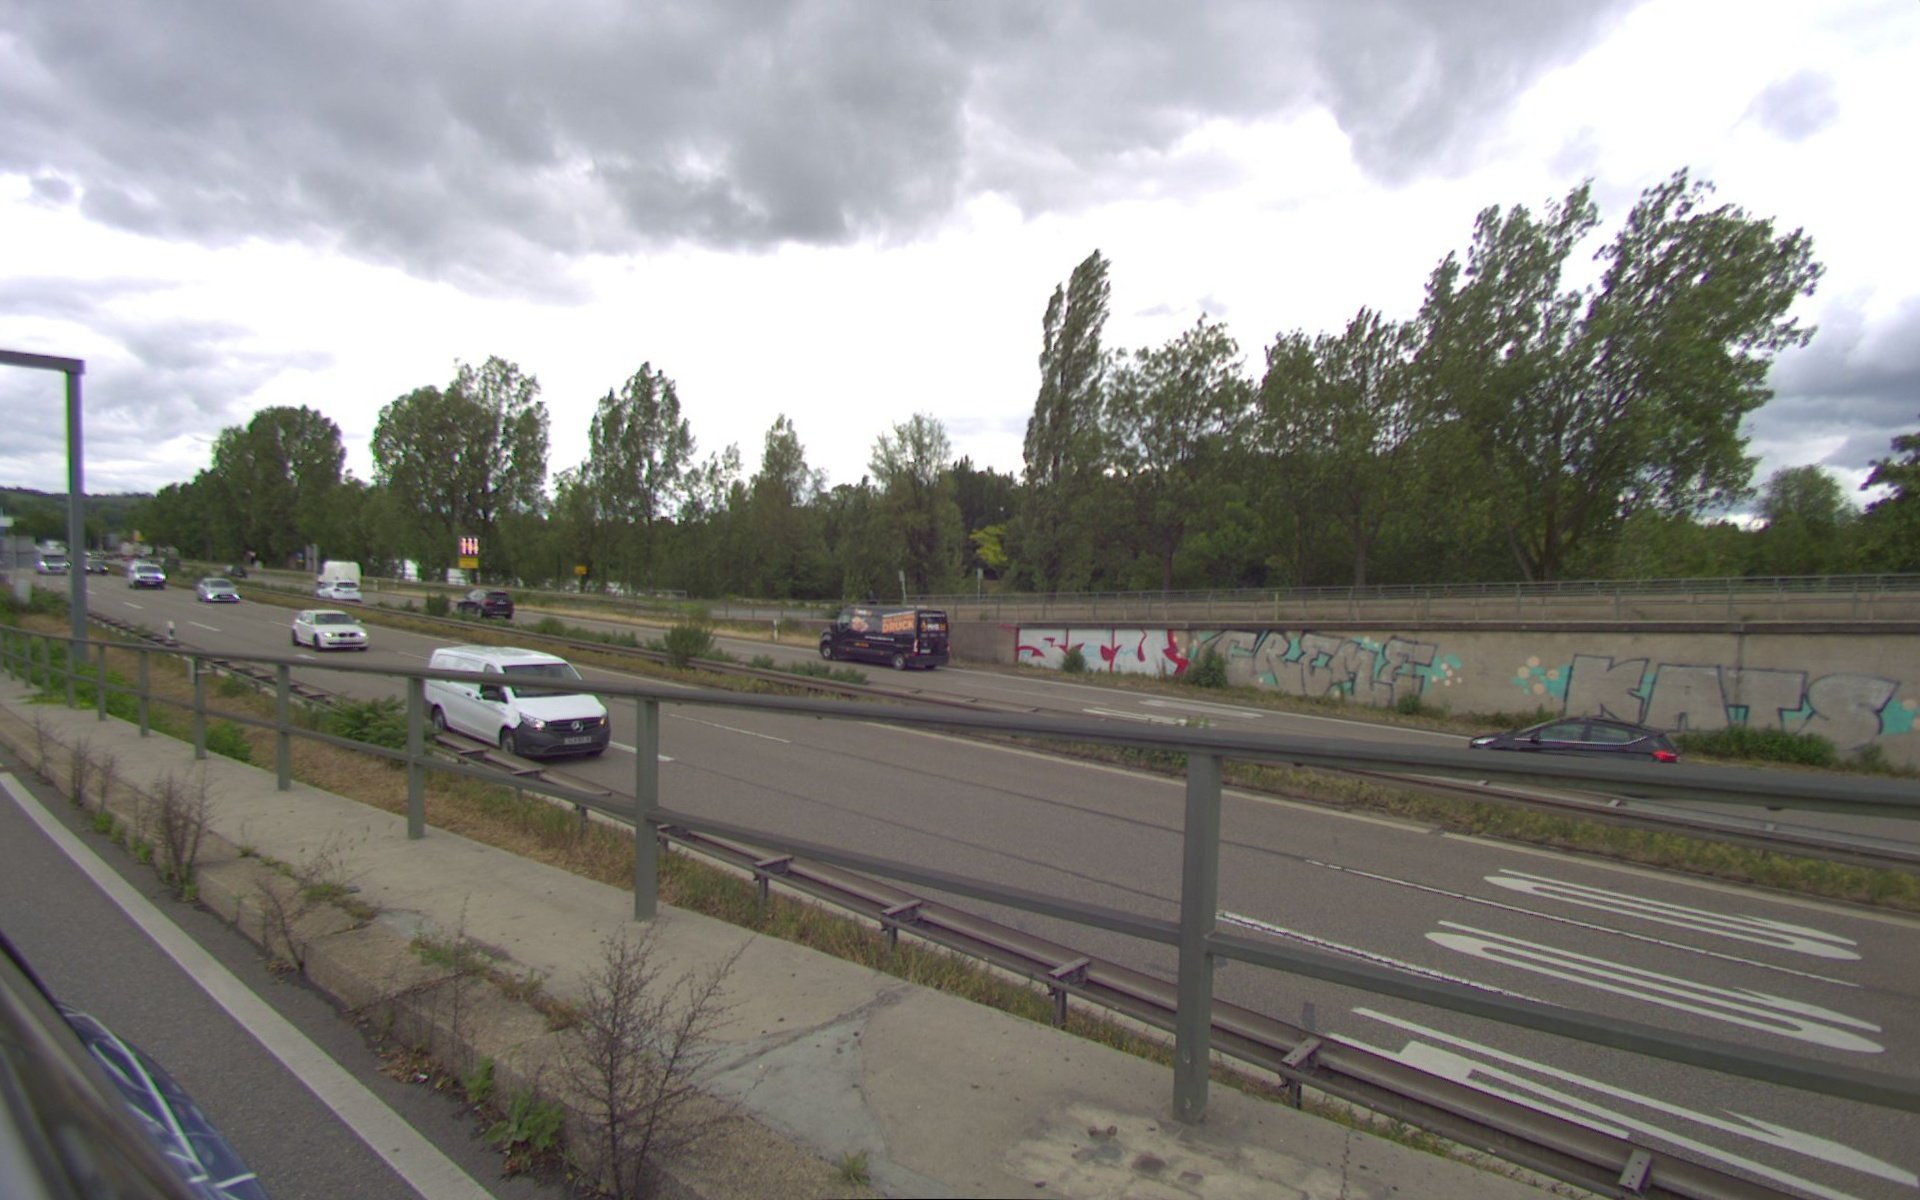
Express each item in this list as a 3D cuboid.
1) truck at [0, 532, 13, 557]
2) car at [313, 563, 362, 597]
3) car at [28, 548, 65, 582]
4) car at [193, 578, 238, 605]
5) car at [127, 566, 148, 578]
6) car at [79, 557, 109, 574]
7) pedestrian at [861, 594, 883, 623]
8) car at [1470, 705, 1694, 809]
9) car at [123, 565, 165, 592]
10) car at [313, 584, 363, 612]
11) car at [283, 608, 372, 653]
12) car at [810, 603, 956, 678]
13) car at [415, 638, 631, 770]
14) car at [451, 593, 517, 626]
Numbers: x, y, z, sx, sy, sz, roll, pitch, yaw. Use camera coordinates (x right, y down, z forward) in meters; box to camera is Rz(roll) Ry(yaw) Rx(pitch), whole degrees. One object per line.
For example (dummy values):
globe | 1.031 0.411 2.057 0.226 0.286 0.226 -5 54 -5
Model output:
truck | -167.165 -9.655 176.129 6.695 4.283 2.723 3 1 41
car | -54.981 -1.775 89.323 5.359 2.800 2.187 4 2 41
car | -95.863 -3.660 106.187 7.664 3.264 2.335 4 3 44
car | -47.582 -0.532 64.628 3.681 1.564 1.540 3 3 41
car | -125.434 -4.255 154.354 3.930 1.662 1.879 2 2 41
car | -93.521 -3.708 109.293 4.277 1.726 1.822 4 3 40
pedestrian | -5.478 0.531 62.800 1.077 1.717 0.821 3 3 41
car | 13.373 3.294 21.873 3.857 1.512 1.646 4 1 41
car | -63.688 -1.678 78.948 4.898 1.949 1.928 4 3 44
car | -41.307 -0.150 67.174 3.930 1.662 1.739 4 3 41
car | -24.245 1.120 38.734 4.164 1.462 1.724 3 2 41
car | -3.211 1.560 41.343 6.111 2.566 2.221 3 2 40
car | -8.973 1.955 20.530 5.197 1.890 1.973 4 3 41
car | -27.886 0.529 59.270 4.332 1.662 1.879 4 1 41
